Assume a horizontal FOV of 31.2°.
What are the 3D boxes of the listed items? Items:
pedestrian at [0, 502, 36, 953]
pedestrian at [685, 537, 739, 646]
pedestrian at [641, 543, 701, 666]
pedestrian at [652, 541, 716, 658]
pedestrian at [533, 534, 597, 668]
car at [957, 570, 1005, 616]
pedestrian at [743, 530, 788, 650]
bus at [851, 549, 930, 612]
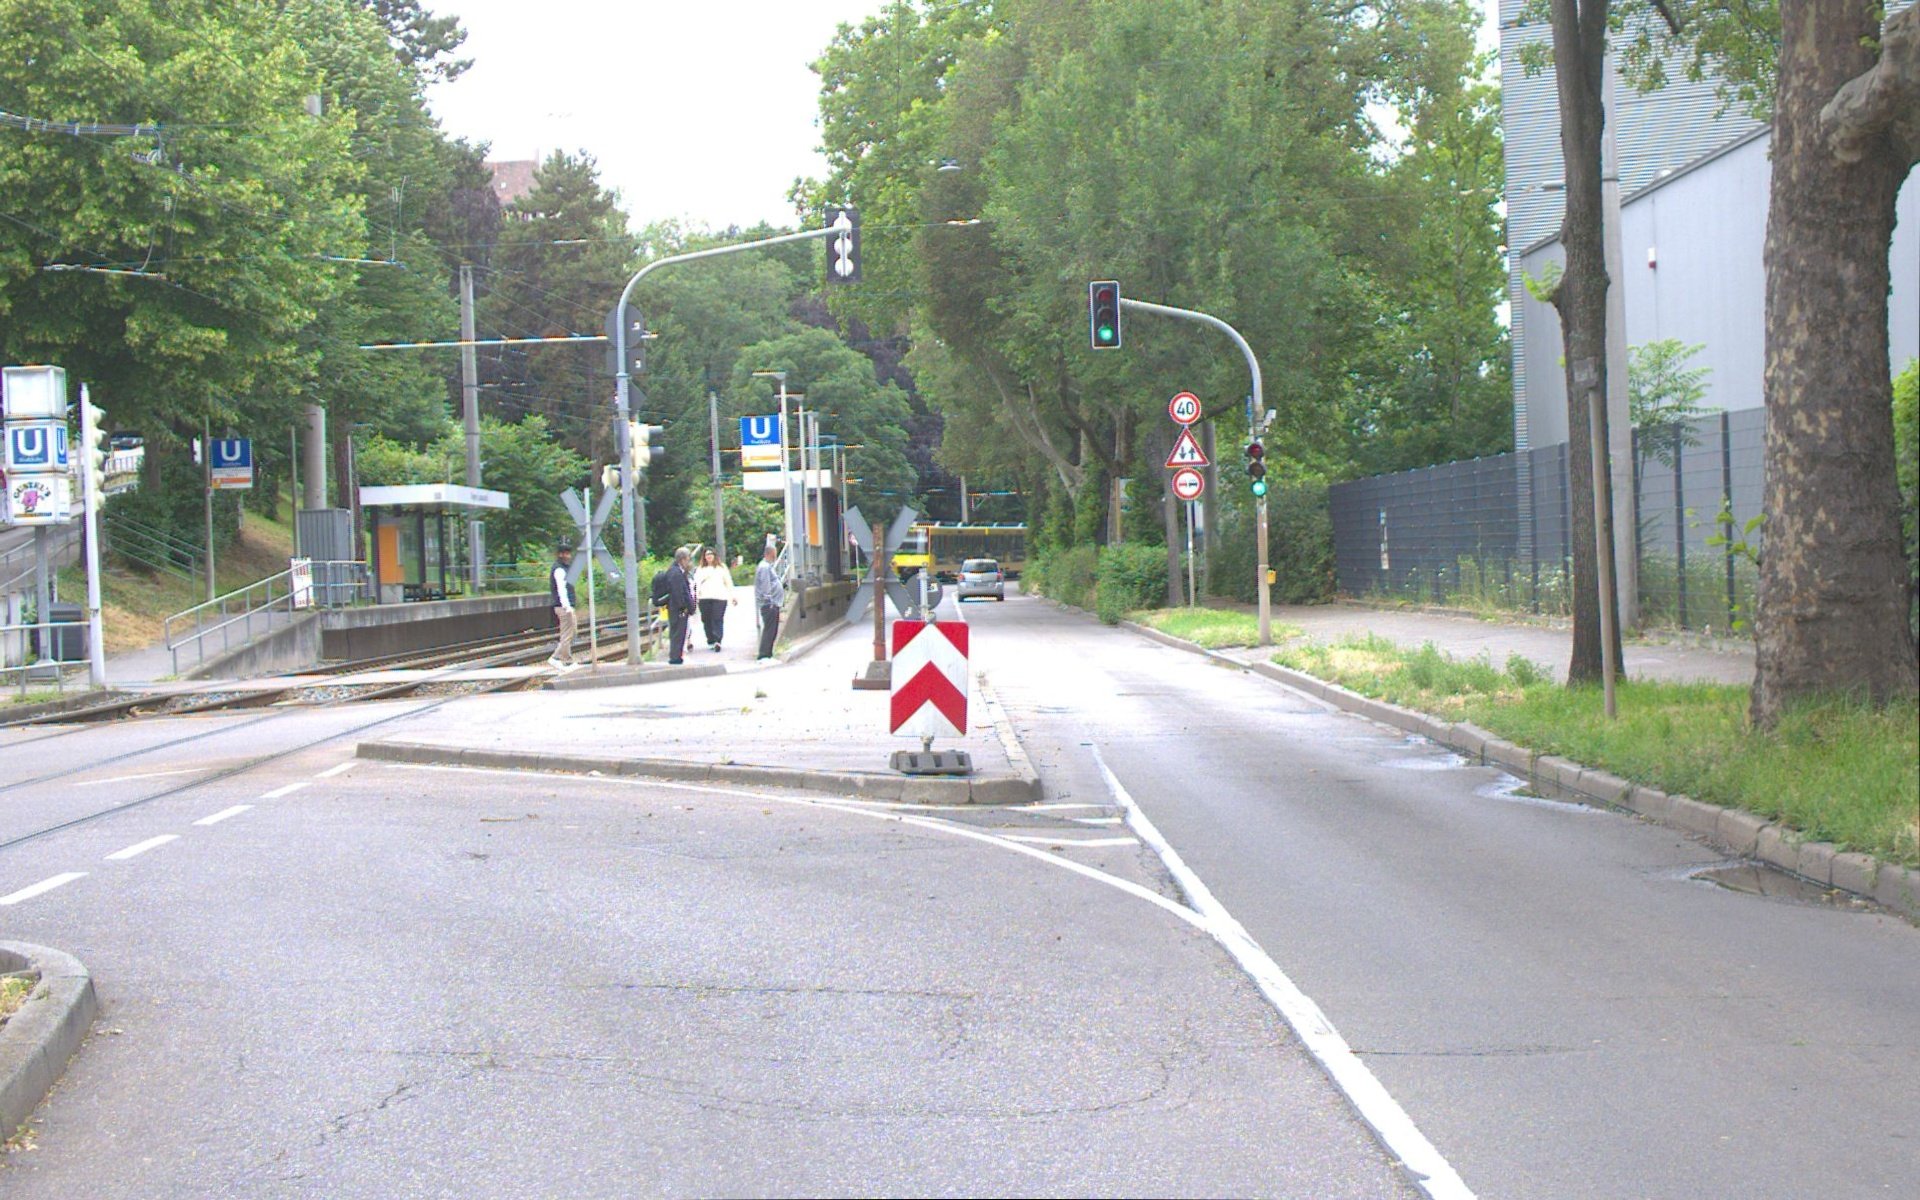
[{"bbox_3d":[-4.322,0.489,13.447,1.119,1.754,0.812,1,1,32],"label":"pedestrian"},{"bbox_3d":[-3.831,-0.129,53.087,0.735,1.659,0.682,1,0,-11],"label":"pedestrian"},{"bbox_3d":[-3.949,0.062,47.029,0.735,1.659,0.682,1,0,1],"label":"pedestrian"},{"bbox_3d":[-3.971,-0.007,49.478,0.680,1.659,0.737,1,0,15],"label":"pedestrian"},{"bbox_3d":[-5.455,0.010,47.417,0.802,1.815,0.671,1,0,-11],"label":"pedestrian"},{"bbox_3d":[0.790,-0.269,131.057,1.743,1.593,4.001,1,2,-1],"label":"car"},{"bbox_3d":[-2.867,-0.157,50.792,0.550,1.752,0.737,1,0,4],"label":"pedestrian"},{"bbox_3d":[-4.125,-1.180,206.691,2.736,3.614,8.937,1,1,12],"label":"bus"}]
